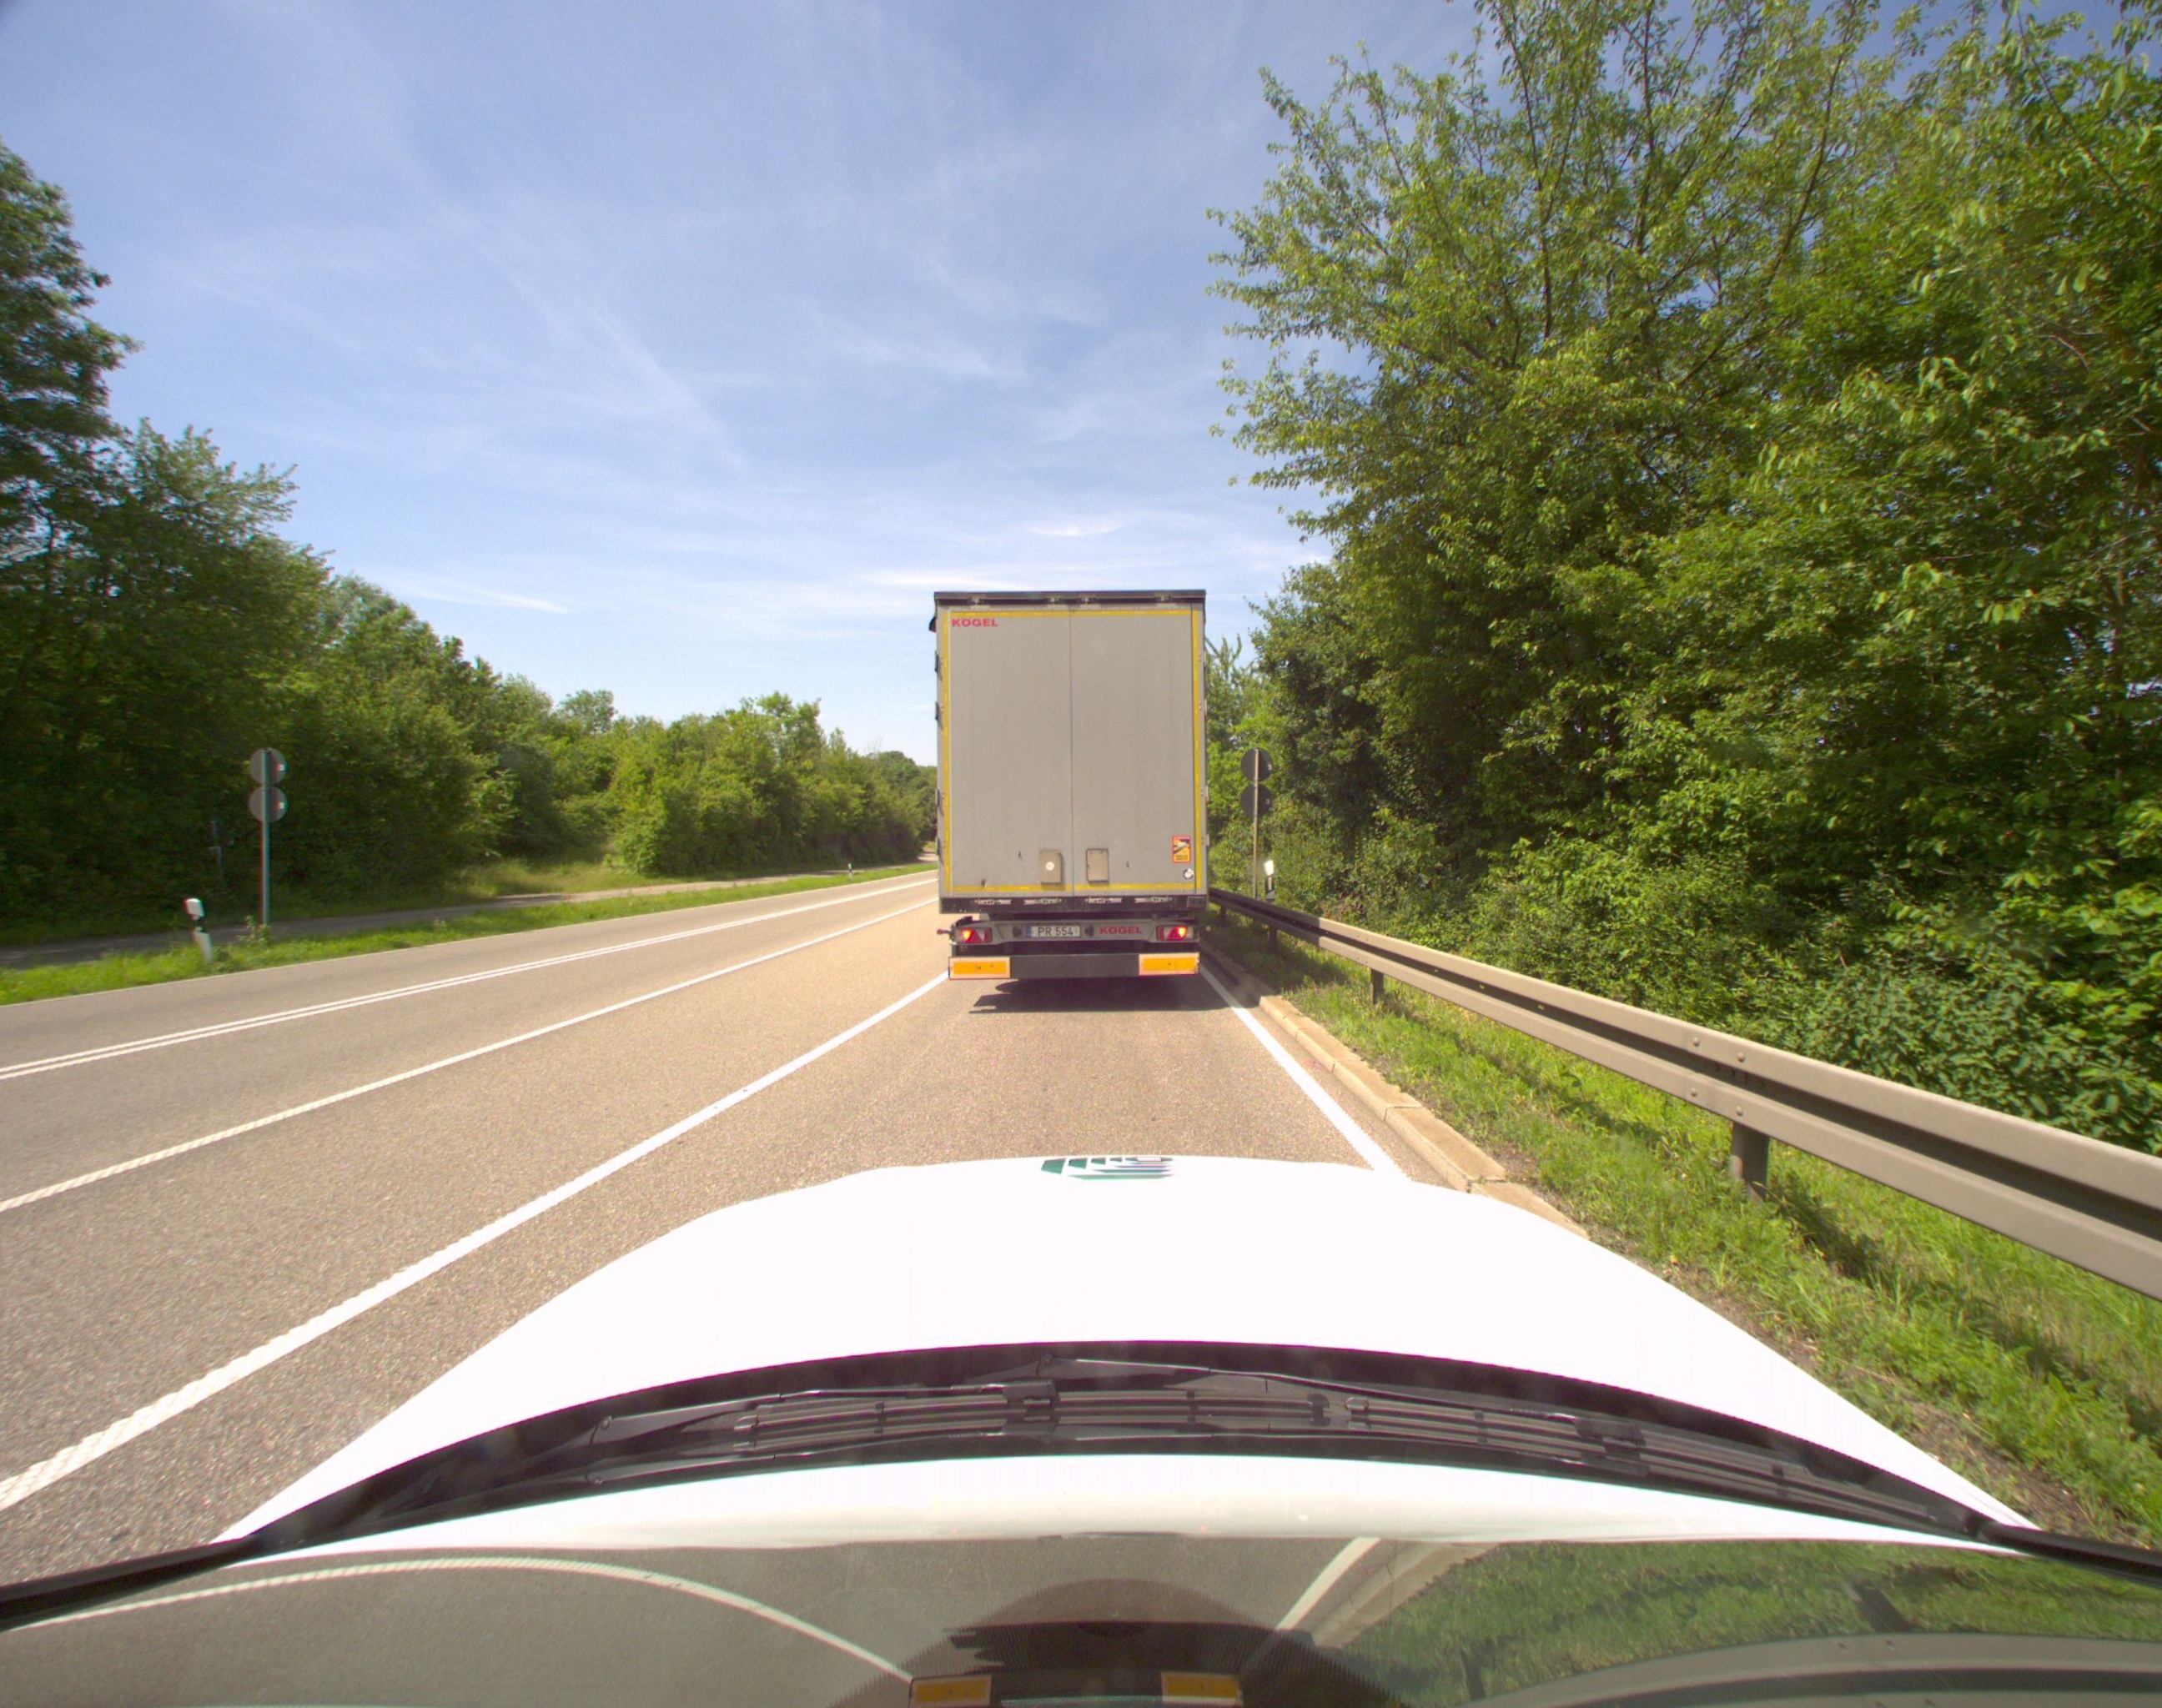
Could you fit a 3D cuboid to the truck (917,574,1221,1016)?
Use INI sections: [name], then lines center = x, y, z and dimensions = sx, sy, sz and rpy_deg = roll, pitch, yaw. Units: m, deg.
[truck]
center = 0.010, -0.562, 13.441
dimensions = 2.747, 4.029, 11.926
rpy_deg = -1, 0, 1
